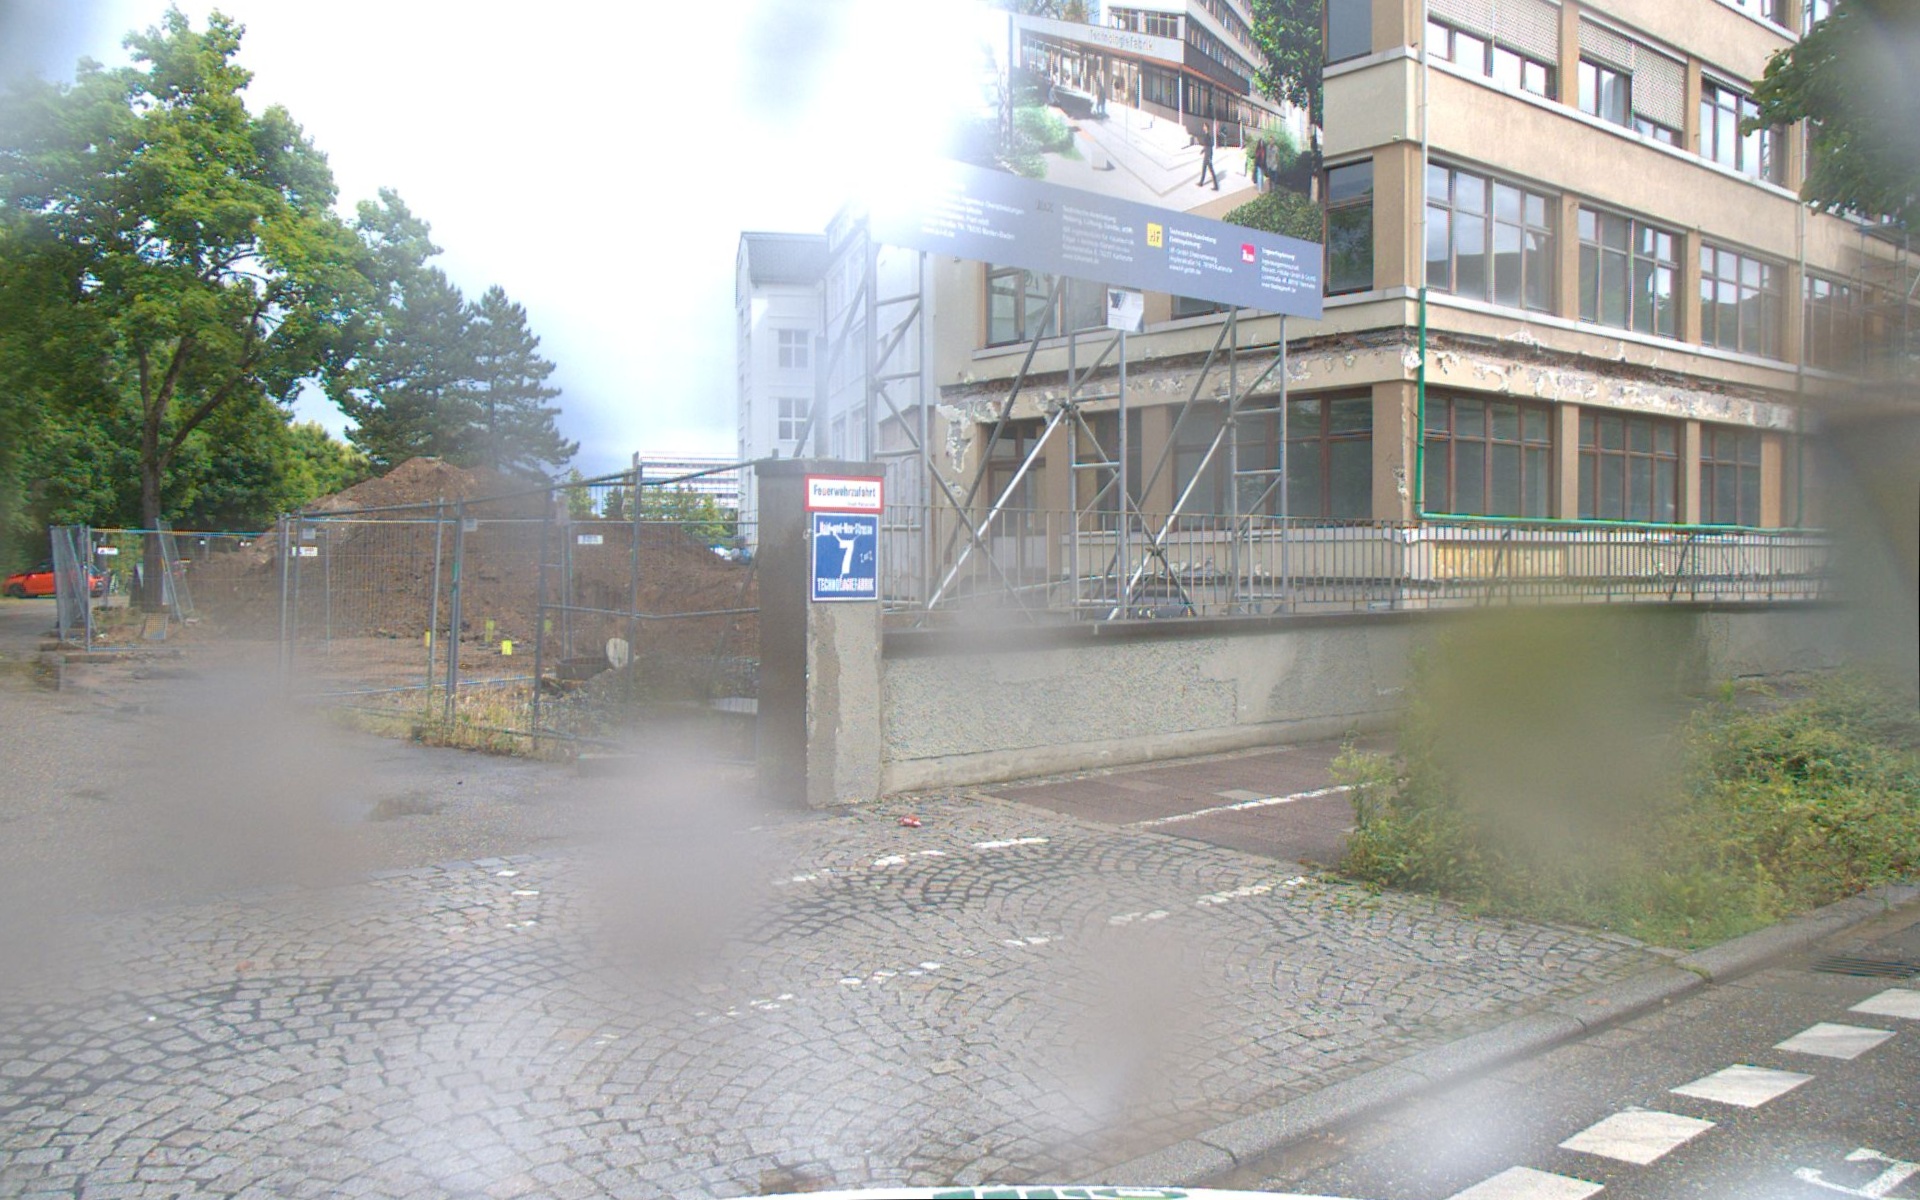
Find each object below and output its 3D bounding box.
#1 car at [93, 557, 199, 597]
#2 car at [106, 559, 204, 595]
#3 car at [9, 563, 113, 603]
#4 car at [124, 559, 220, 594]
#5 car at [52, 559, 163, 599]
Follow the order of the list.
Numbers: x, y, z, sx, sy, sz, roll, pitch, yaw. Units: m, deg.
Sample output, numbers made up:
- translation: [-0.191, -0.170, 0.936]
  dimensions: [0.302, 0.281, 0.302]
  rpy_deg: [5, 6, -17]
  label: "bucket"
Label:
- translation: [-36.596, -1.048, 74.424]
  dimensions: [4.046, 1.679, 1.837]
  rpy_deg: [1, 2, -20]
  label: "car"
- translation: [-37.432, -1.060, 77.004]
  dimensions: [3.882, 1.543, 1.797]
  rpy_deg: [1, 2, -19]
  label: "car"
- translation: [-34.927, -0.663, 64.319]
  dimensions: [3.225, 1.449, 1.588]
  rpy_deg: [1, 2, -12]
  label: "car"
- translation: [-37.963, -1.130, 79.719]
  dimensions: [3.924, 1.587, 1.756]
  rpy_deg: [1, 2, -18]
  label: "car"
- translation: [-35.483, -0.877, 68.947]
  dimensions: [3.728, 1.555, 1.903]
  rpy_deg: [1, 2, -14]
  label: "car"
